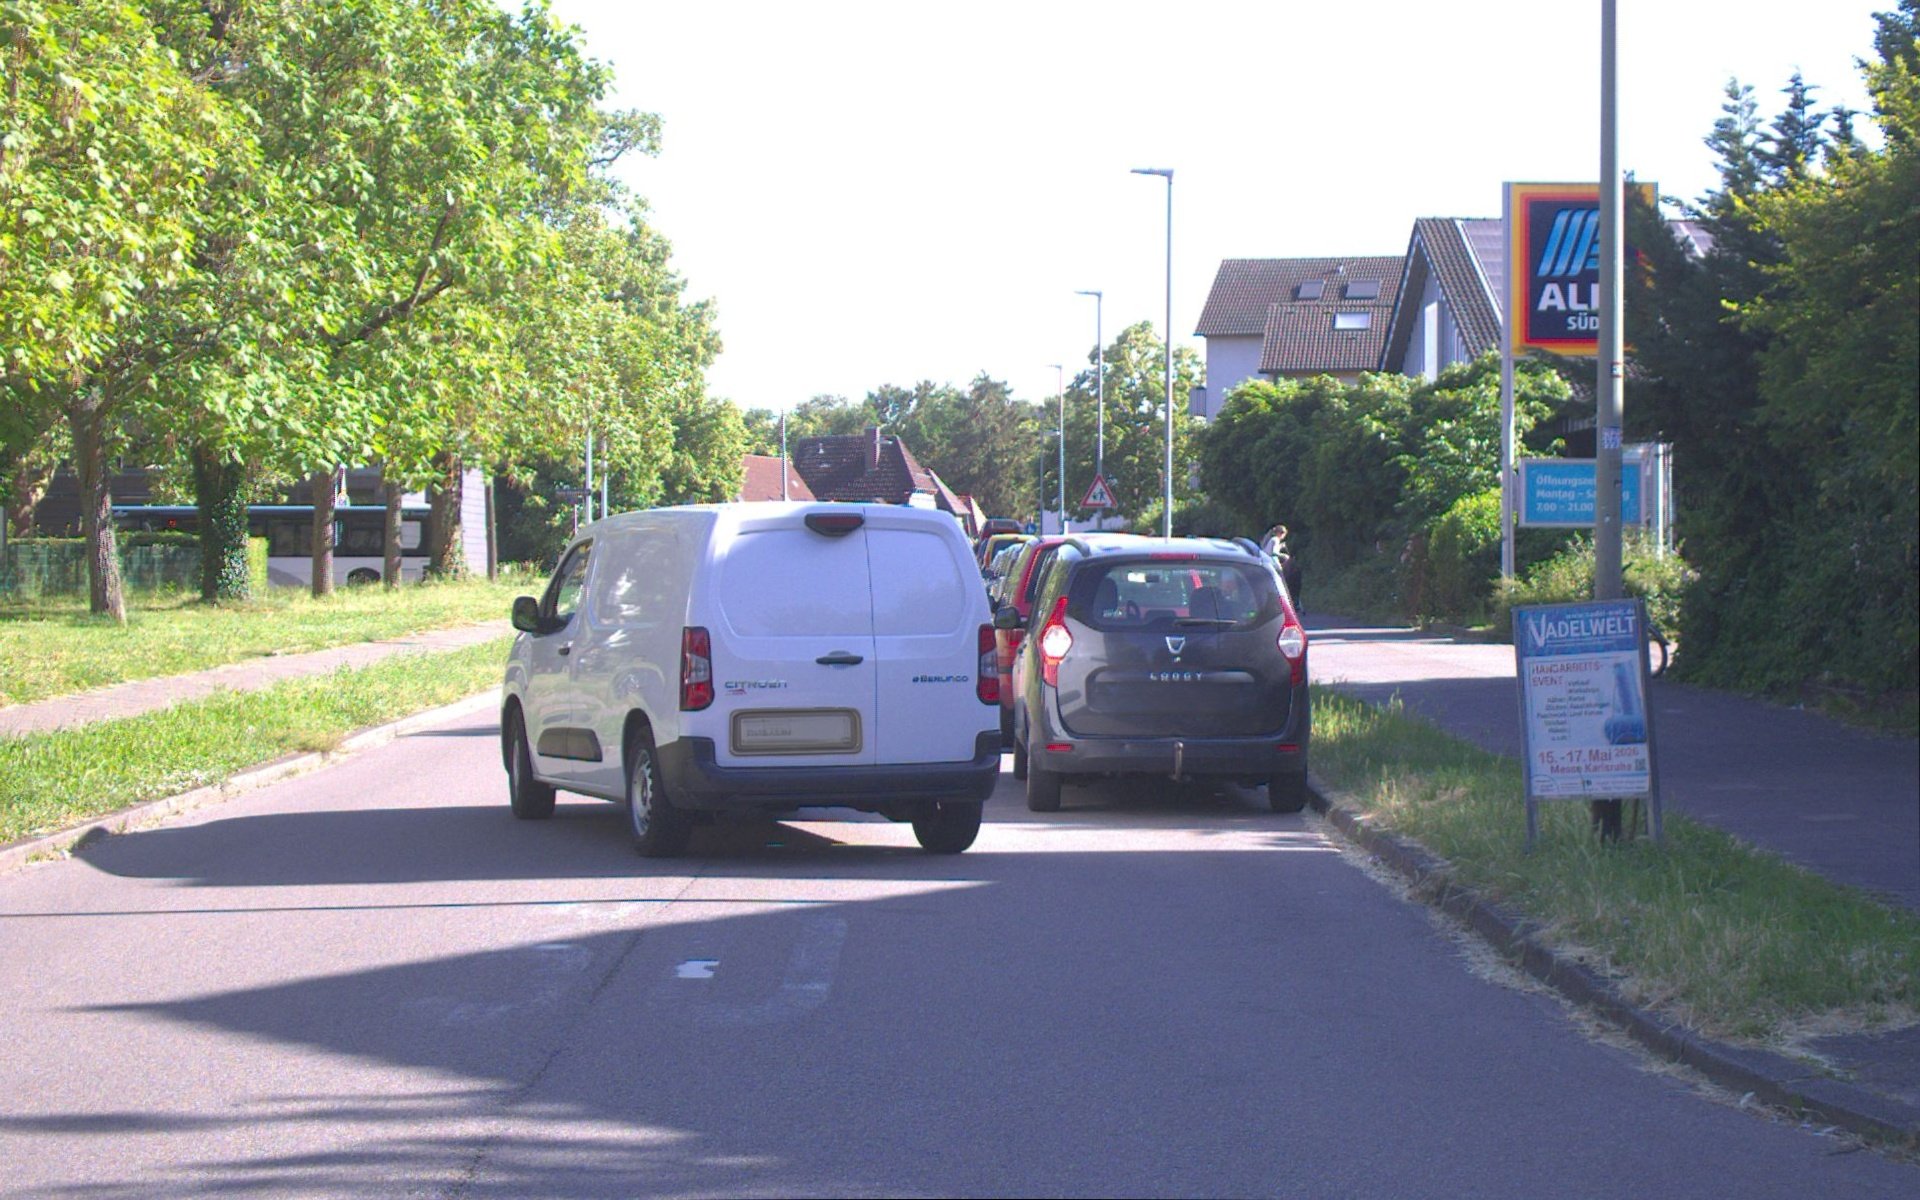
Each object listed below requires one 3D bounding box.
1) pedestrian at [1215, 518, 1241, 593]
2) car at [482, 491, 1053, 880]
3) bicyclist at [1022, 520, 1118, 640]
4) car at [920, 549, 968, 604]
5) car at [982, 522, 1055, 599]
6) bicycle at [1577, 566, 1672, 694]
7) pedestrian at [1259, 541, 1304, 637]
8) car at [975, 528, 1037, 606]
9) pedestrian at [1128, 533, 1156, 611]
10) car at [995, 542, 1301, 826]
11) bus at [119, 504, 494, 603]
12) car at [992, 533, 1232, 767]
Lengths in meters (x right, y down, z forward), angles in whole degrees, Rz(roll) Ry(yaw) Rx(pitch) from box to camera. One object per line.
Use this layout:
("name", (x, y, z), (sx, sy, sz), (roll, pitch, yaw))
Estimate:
("pedestrian", (5.855, -0.963, 75.082), (0.567, 1.631, 0.546), (0, 1, 6))
("car", (-1.199, 0.373, 18.960), (1.993, 1.875, 4.290), (0, 1, -20))
("bicyclist", (1.467, -0.266, 45.845), (0.965, 1.579, 0.907), (1, 0, 27))
("car", (-0.650, -0.926, 137.754), (1.804, 2.062, 4.000), (2, 0, -1))
("car", (1.442, -0.963, 84.658), (1.724, 1.831, 4.000), (1, 0, 1))
("bicycle", (6.596, 0.288, 34.067), (0.721, 1.216, 1.894), (-2, -1, 16))
("pedestrian", (6.026, -0.212, 64.347), (0.798, 1.776, 0.808), (0, 1, 8))
("car", (1.572, -1.120, 118.639), (1.866, 2.554, 4.768), (2, 0, -1))
("pedestrian", (3.809, -0.585, 71.869), (0.567, 1.631, 0.546), (0, 1, 6))
("car", (1.114, 0.452, 22.206), (1.724, 1.651, 4.353), (0, 1, 0))
("bus", (-18.921, -1.350, 100.119), (10.554, 2.815, 3.048), (0, 0, -8))
("car", (1.211, 0.348, 28.761), (1.840, 1.799, 4.653), (0, 1, 1))
